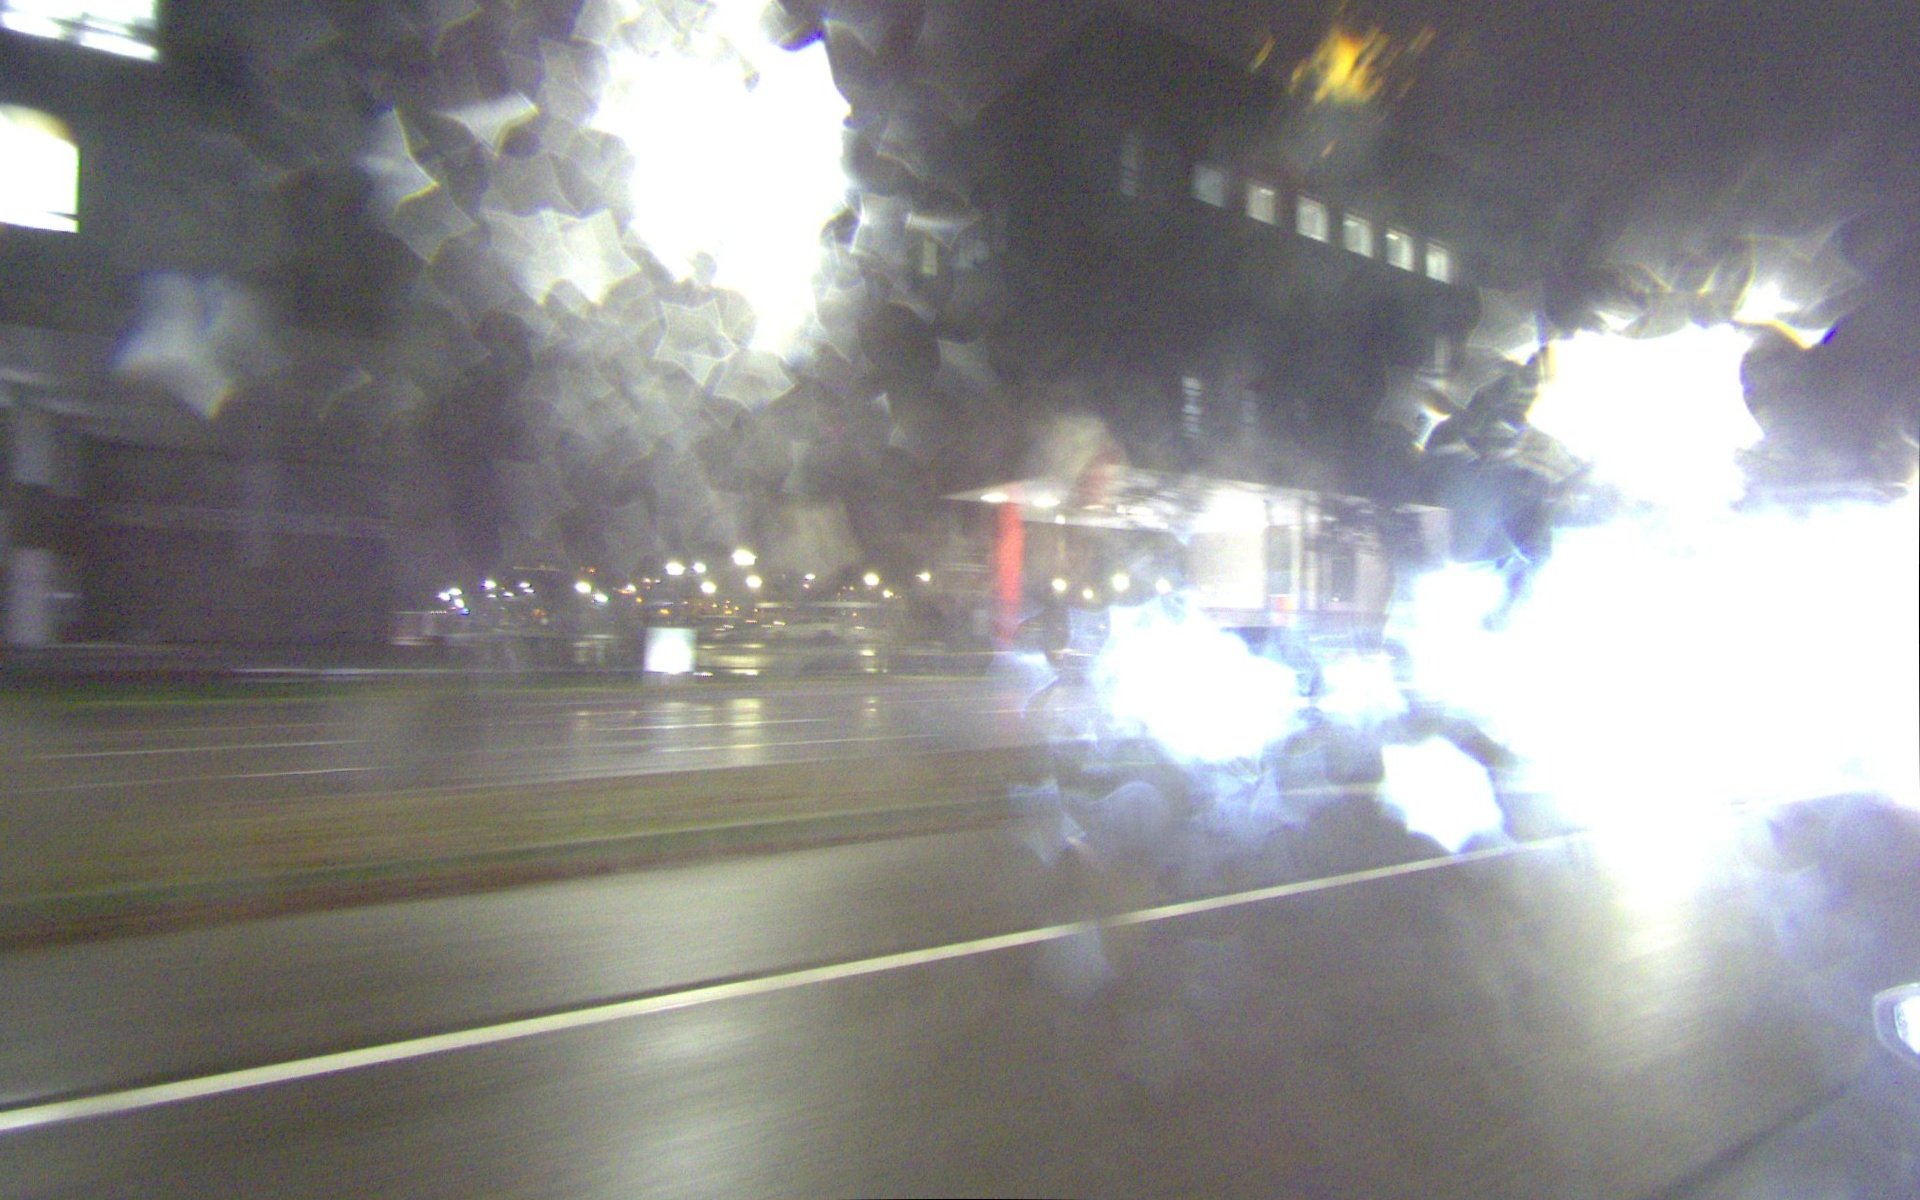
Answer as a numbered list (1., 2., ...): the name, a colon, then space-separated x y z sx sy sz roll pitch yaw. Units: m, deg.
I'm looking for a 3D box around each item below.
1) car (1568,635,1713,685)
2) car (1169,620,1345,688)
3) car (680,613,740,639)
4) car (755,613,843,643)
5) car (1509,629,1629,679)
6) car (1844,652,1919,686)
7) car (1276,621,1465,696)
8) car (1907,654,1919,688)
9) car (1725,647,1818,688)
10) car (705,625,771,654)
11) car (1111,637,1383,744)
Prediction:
1. car: 21.544 1.863 31.709 5.500 1.376 1.832 2 0 -34
2. car: 7.935 1.415 26.704 4.698 1.614 1.833 2 0 -32
3. car: -18.666 1.963 75.001 3.957 1.840 1.982 2 0 -33
4. car: -10.584 1.883 66.104 5.369 1.840 1.982 2 0 -33
5. car: 21.576 1.904 35.561 4.315 1.614 1.834 2 0 -31
6. car: 48.587 3.615 52.907 4.315 1.614 1.834 2 0 -31
7. car: 10.069 1.394 24.552 4.696 1.614 1.834 2 0 -31
8. car: 48.724 3.520 49.519 4.315 1.614 1.834 2 0 -31
9. car: 36.153 2.977 44.726 4.315 1.614 1.834 2 0 -31
10. car: -15.025 2.696 68.008 3.957 1.840 1.982 2 0 -33
11. car: 5.270 1.518 18.064 5.275 1.614 1.830 2 0 -36
